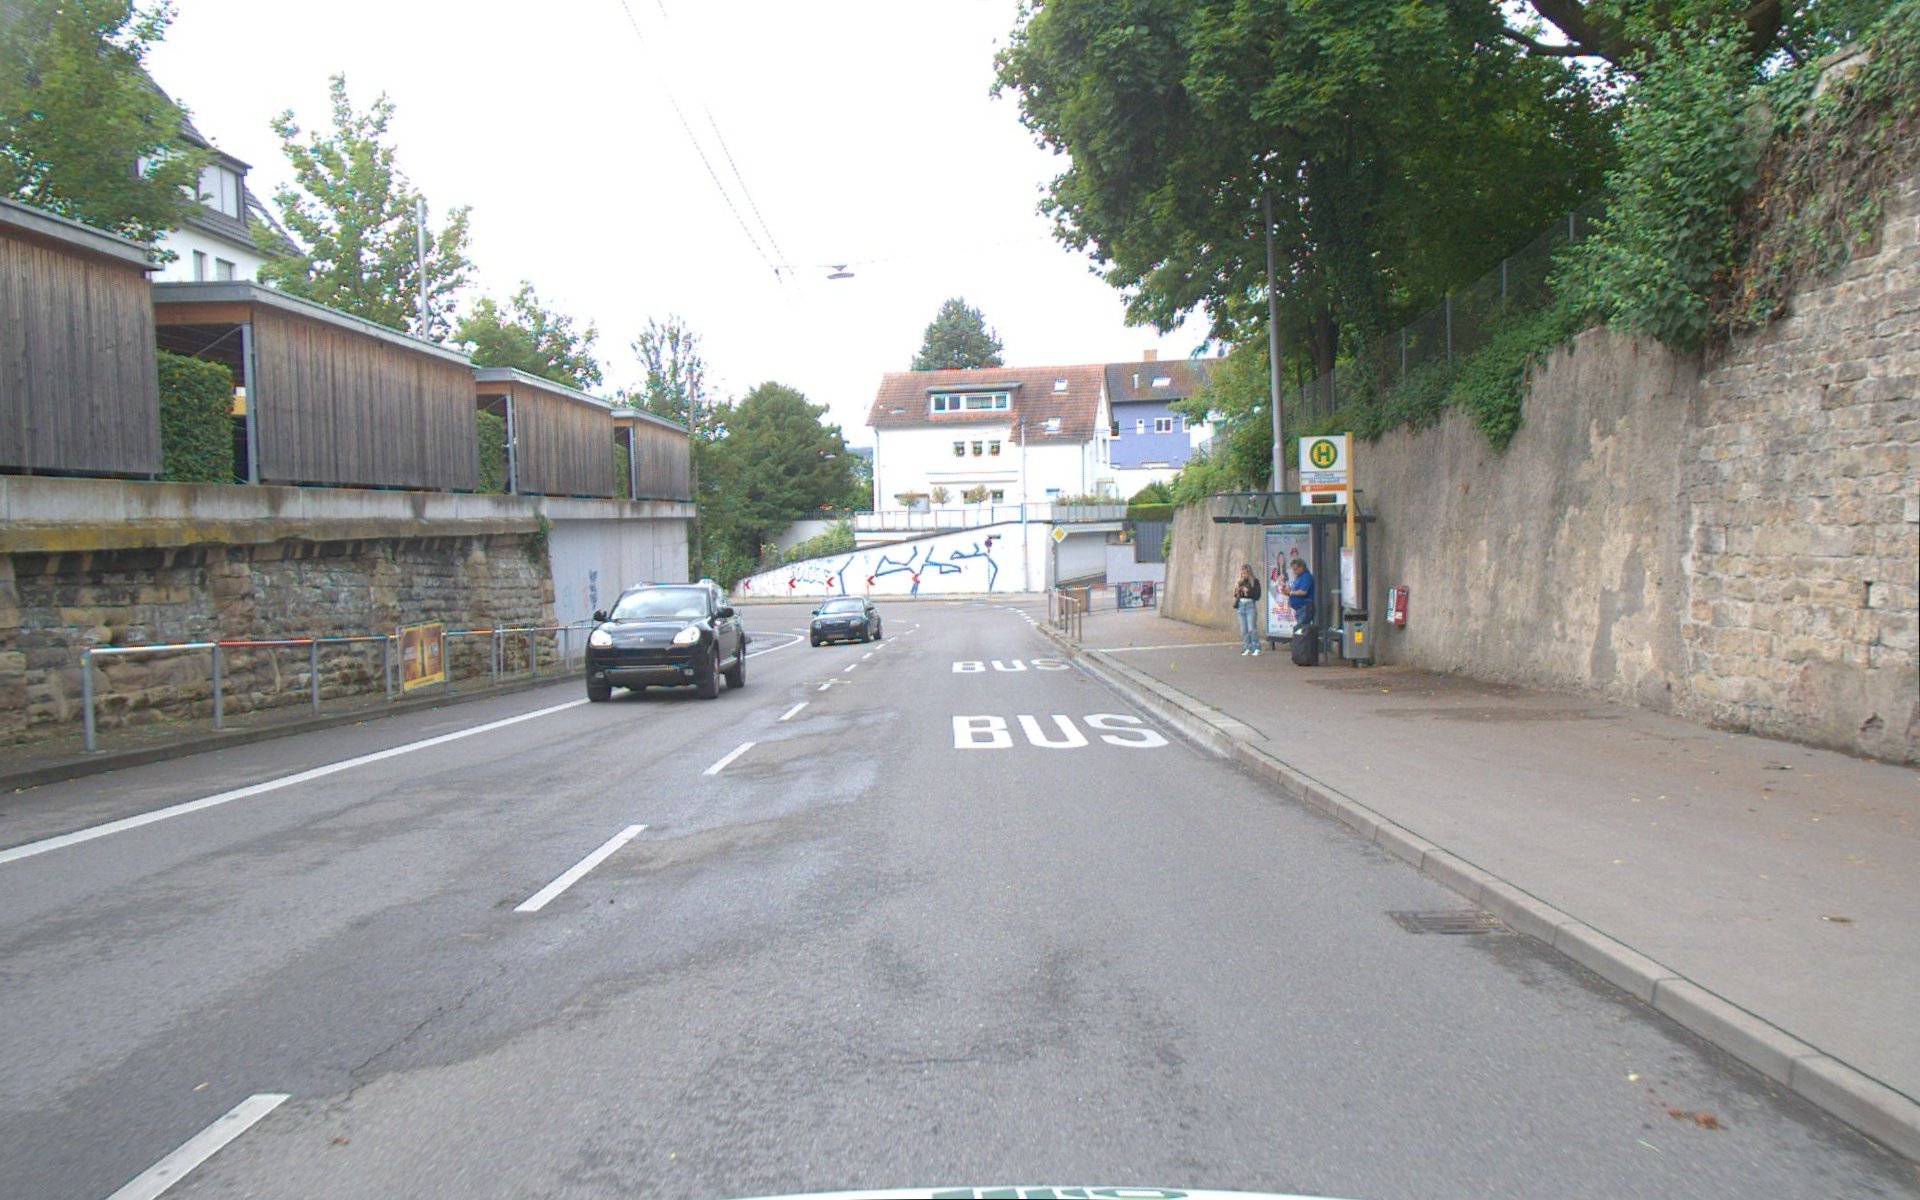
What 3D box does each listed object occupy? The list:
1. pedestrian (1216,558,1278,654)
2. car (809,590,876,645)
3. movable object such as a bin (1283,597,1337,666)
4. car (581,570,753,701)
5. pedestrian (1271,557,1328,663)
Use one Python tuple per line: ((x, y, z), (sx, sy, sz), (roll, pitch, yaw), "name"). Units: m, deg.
((5.047, 0.102, 29.084), (0.724, 1.615, 0.769), (-2, 2, 41), "pedestrian")
((-3.573, 0.500, 50.852), (1.699, 1.559, 4.000), (-2, 0, 0), "car")
((5.511, 0.485, 26.043), (0.661, 1.038, 0.626), (-2, 1, -5), "movable object such as a bin")
((-4.437, 0.501, 25.672), (1.855, 1.787, 4.436), (-2, 0, -1), "car")
((5.488, 0.162, 26.748), (0.707, 1.671, 0.630), (-2, 0, -5), "pedestrian")
